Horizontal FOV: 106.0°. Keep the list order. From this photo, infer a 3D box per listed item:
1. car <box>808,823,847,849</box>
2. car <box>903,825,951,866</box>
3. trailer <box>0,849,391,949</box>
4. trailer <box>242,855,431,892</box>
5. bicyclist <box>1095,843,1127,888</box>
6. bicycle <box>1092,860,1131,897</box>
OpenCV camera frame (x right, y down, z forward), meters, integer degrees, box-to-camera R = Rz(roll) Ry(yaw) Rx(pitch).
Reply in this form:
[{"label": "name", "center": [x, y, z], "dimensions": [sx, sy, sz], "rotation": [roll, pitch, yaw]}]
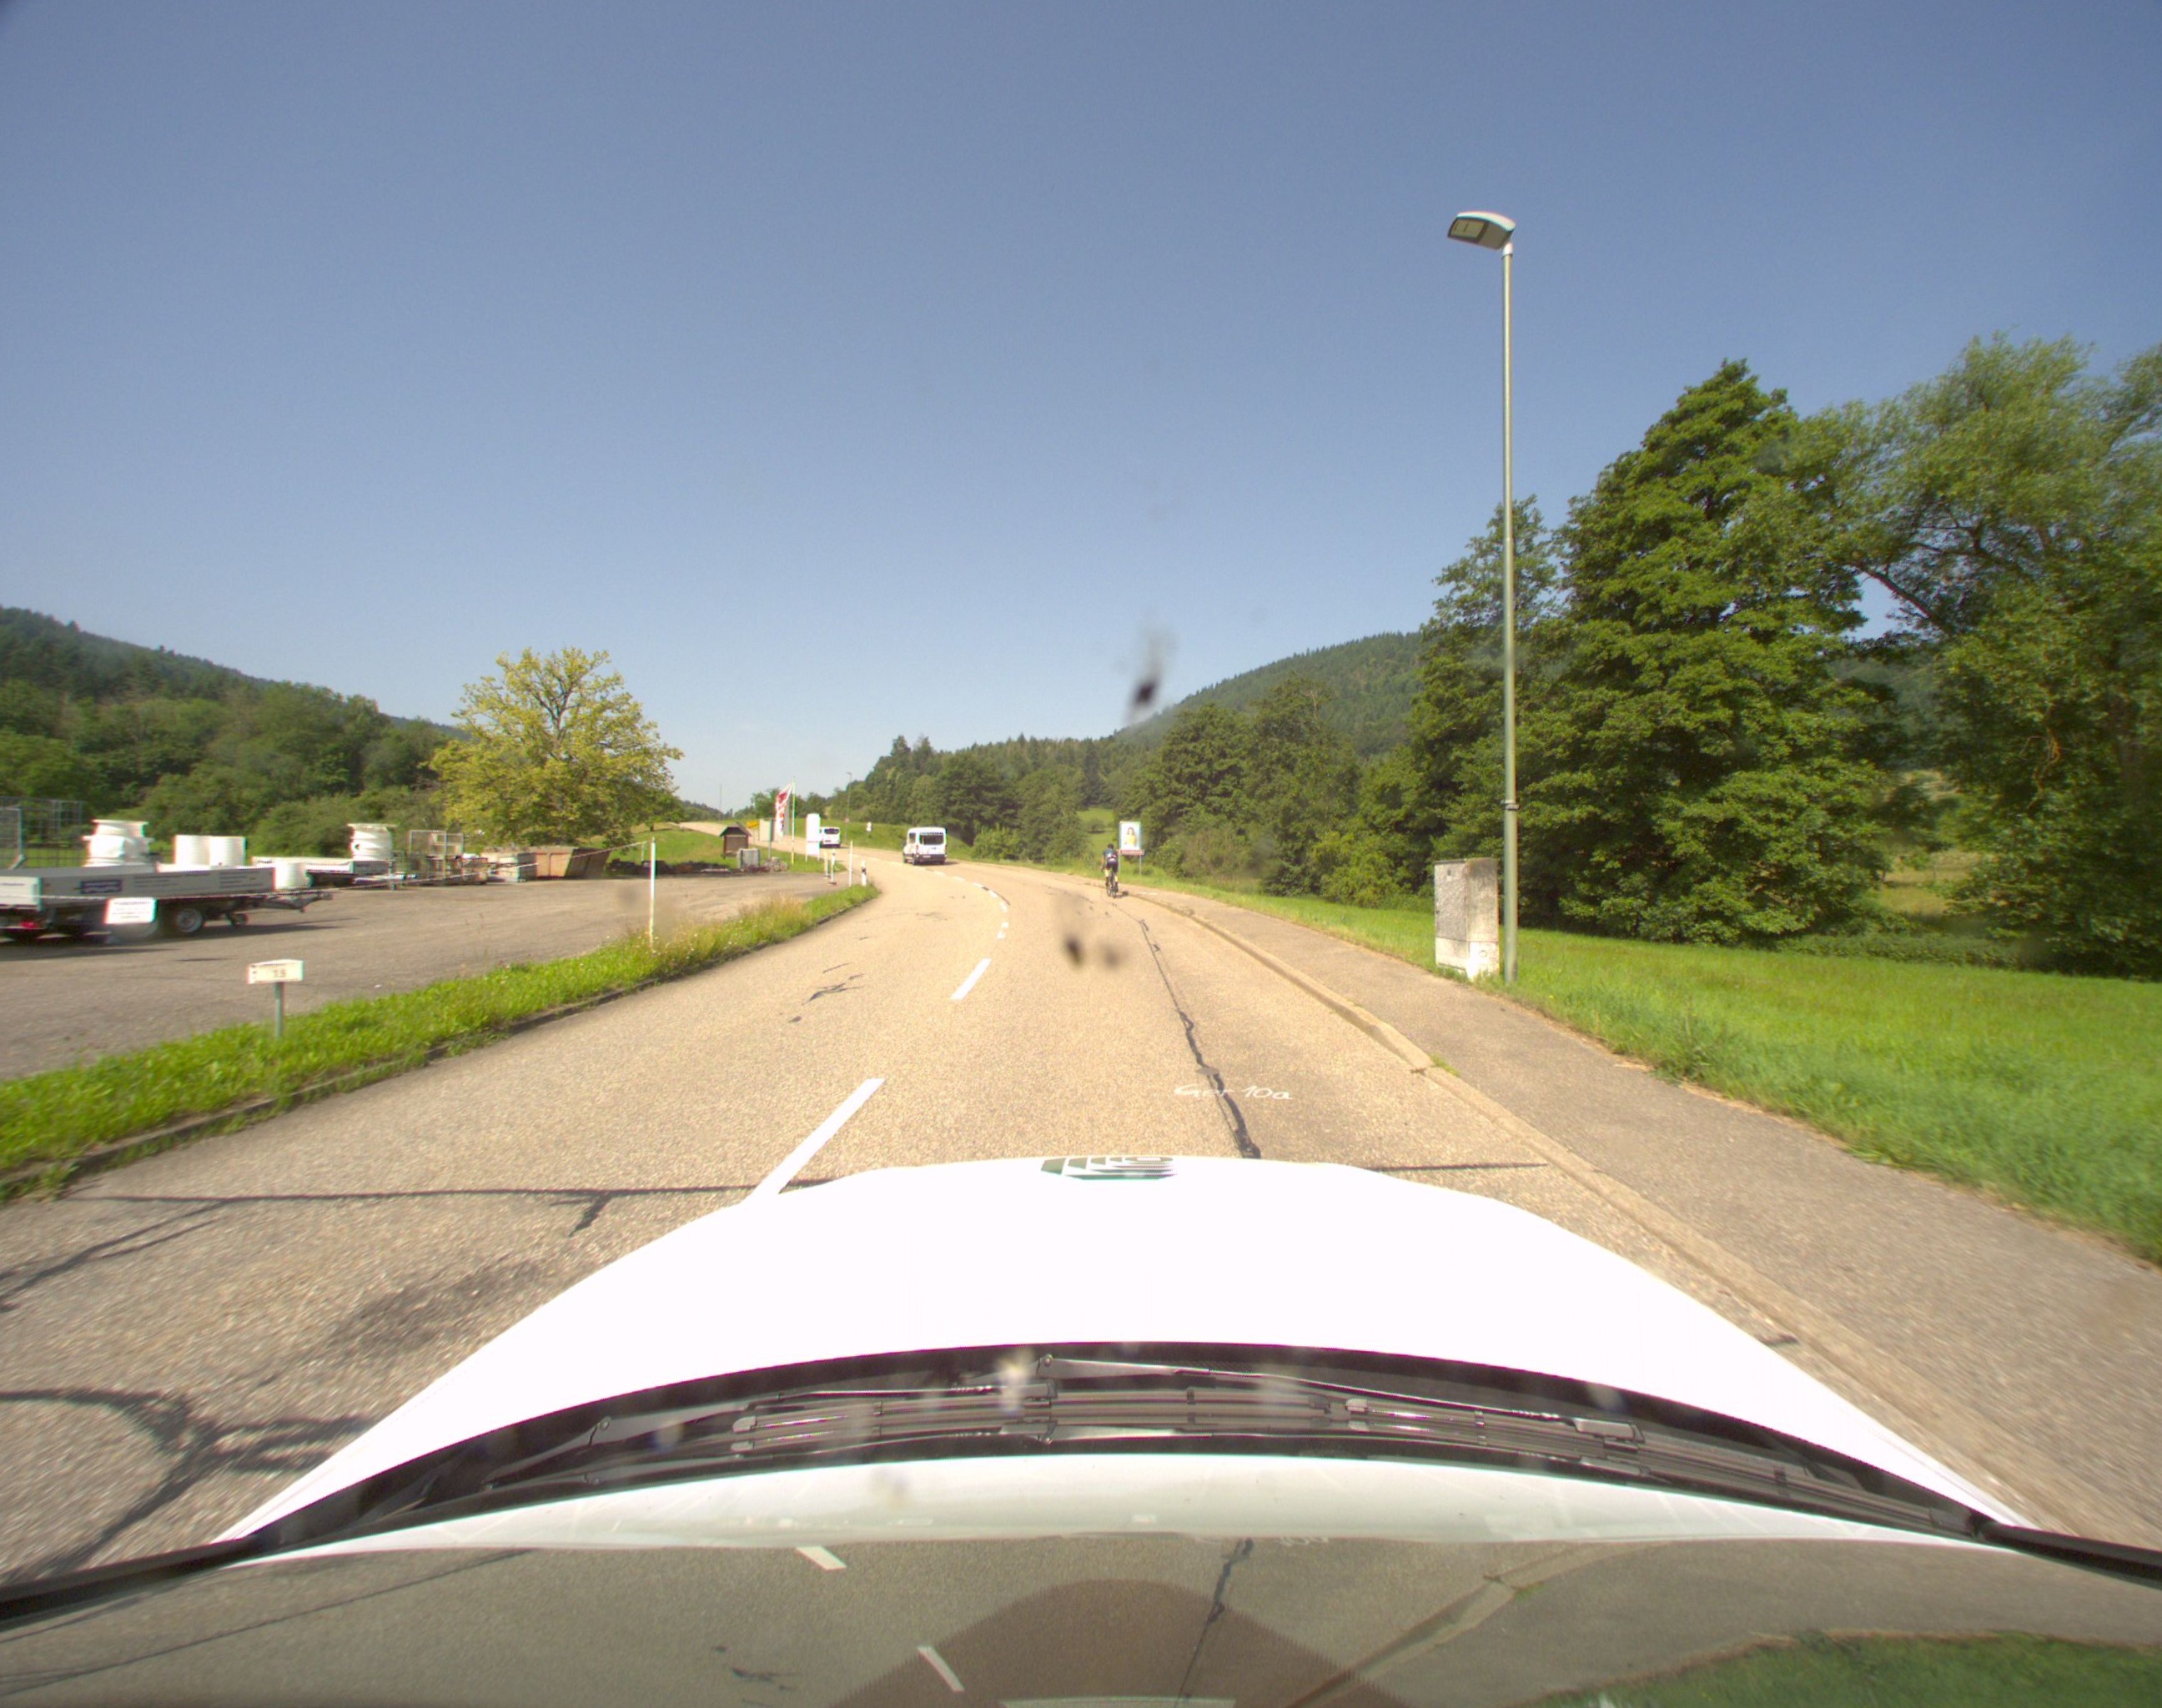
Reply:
[{"label": "car", "center": [-24.463, -1.726, 78.357], "dimensions": [2.239, 2.286, 4.933], "rotation": [-3, 2, -33]}, {"label": "car", "center": [-10.274, -0.603, 54.037], "dimensions": [2.231, 2.525, 4.950], "rotation": [-2, 2, -21]}, {"label": "trailer", "center": [-14.447, 0.592, 13.162], "dimensions": [1.989, 1.226, 5.540], "rotation": [2, 0, -3]}, {"label": "trailer", "center": [-22.562, 0.591, 24.804], "dimensions": [3.921, 0.939, 1.866], "rotation": [2, -1, -1]}, {"label": "bicyclist", "center": [0.918, 0.343, 25.168], "dimensions": [0.581, 1.342, 1.139], "rotation": [-3, 1, -17]}, {"label": "bicycle", "center": [0.922, 0.726, 25.276], "dimensions": [0.581, 1.035, 1.979], "rotation": [-3, 1, -17]}]
